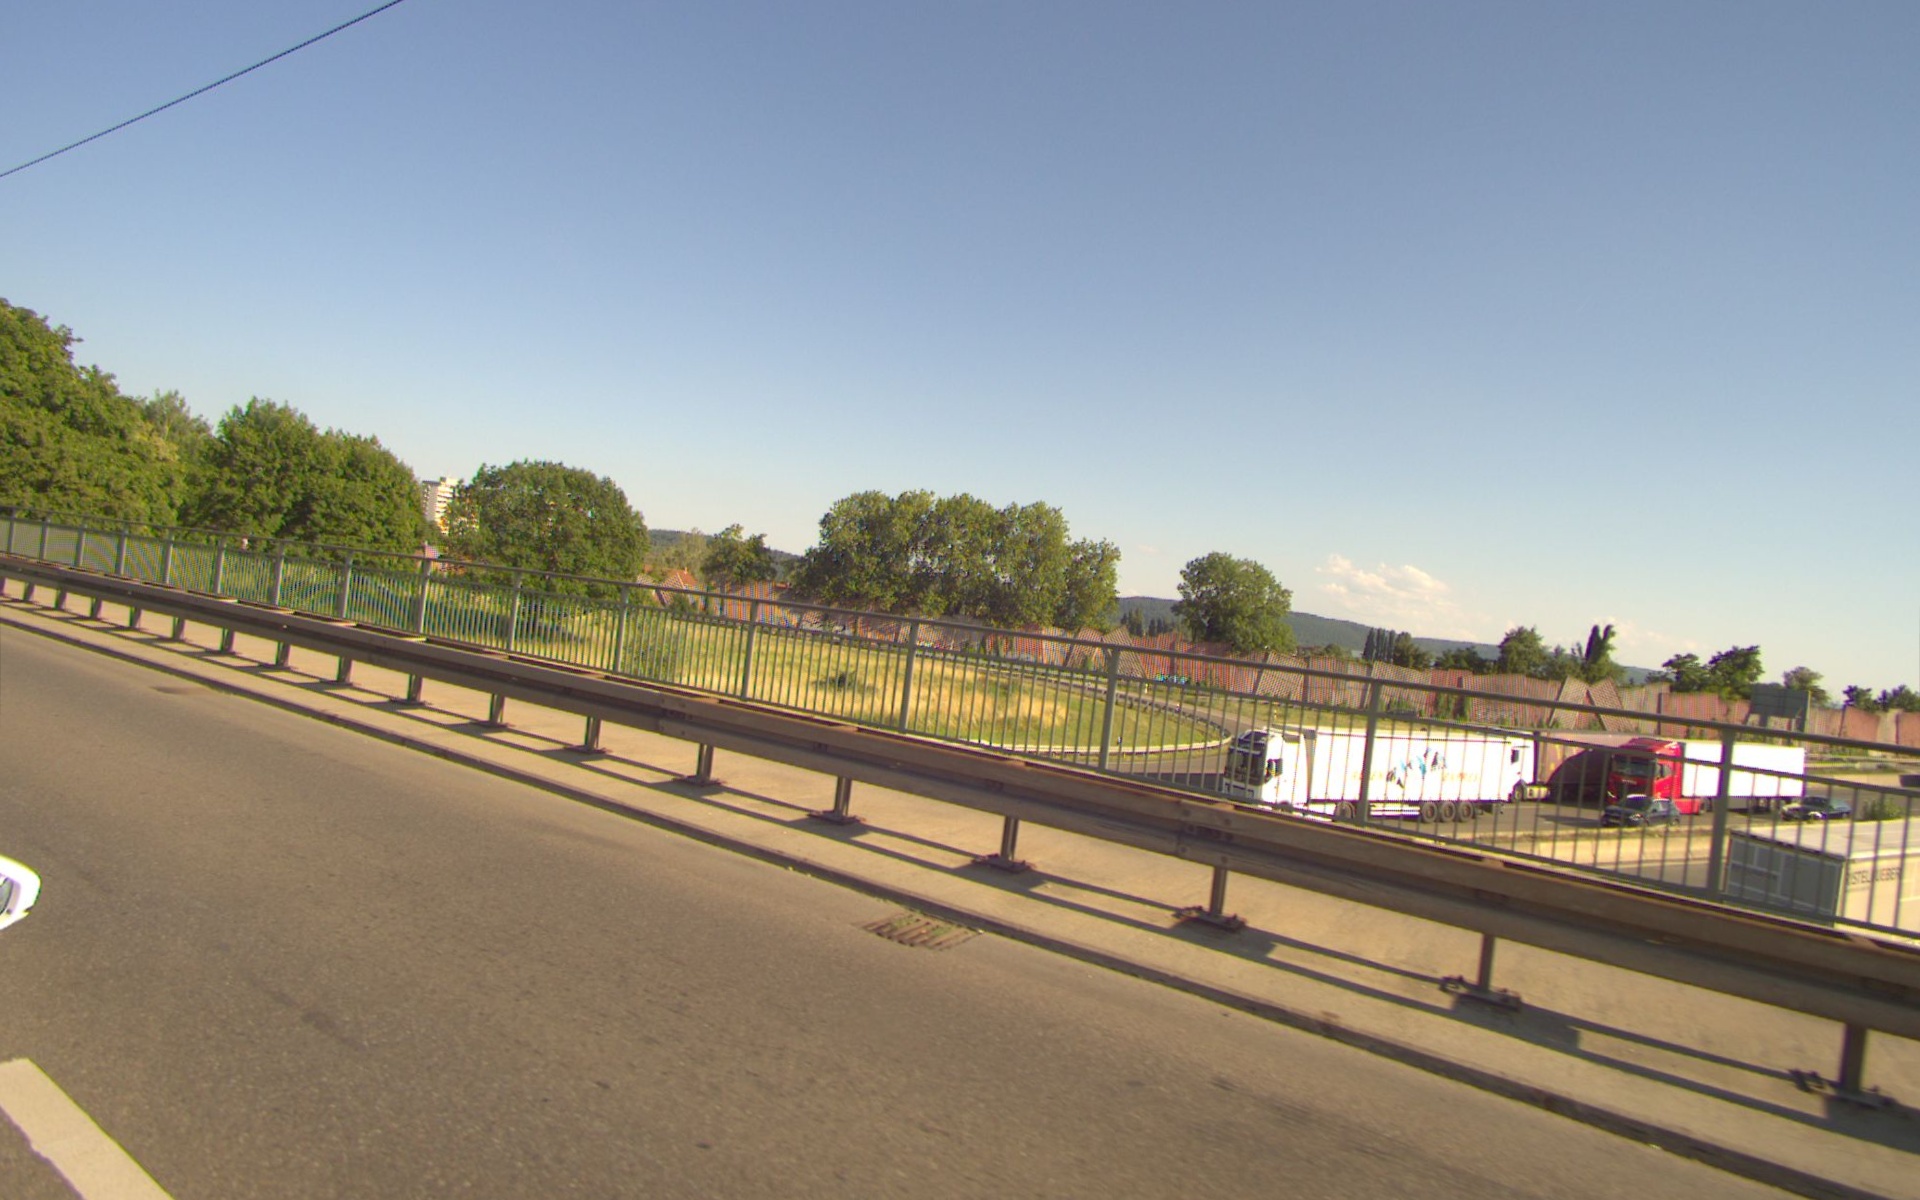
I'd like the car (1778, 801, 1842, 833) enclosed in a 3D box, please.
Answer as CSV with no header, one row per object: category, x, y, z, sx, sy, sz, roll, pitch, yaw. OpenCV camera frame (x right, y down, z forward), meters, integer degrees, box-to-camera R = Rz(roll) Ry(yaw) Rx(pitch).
car,48.593,12.392,57.505,3.303,1.475,1.553,5,-1,-26

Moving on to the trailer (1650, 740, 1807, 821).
trailer,46.262,10.876,60.399,11.837,4.205,2.543,6,-2,-27

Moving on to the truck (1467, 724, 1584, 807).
truck,32.587,9.540,57.904,6.405,4.220,2.543,6,-2,-27

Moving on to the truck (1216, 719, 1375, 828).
truck,14.585,7.537,43.676,6.405,4.180,2.543,6,-2,-27

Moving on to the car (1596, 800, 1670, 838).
car,32.882,10.670,49.136,3.305,1.475,1.552,6,-1,-28

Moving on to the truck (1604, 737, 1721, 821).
truck,39.886,10.150,57.065,6.405,4.220,2.543,6,-2,-27

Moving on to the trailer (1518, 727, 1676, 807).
trailer,38.803,10.211,61.127,11.348,4.205,2.543,6,-2,-27

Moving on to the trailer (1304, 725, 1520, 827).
trailer,21.360,8.325,47.225,11.348,4.115,2.543,6,-2,-27

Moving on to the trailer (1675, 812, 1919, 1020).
trailer,25.761,8.645,28.822,11.412,4.331,3.283,6,3,-27

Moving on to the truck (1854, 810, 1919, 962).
truck,32.716,9.351,32.469,6.301,4.336,3.254,6,3,-27
